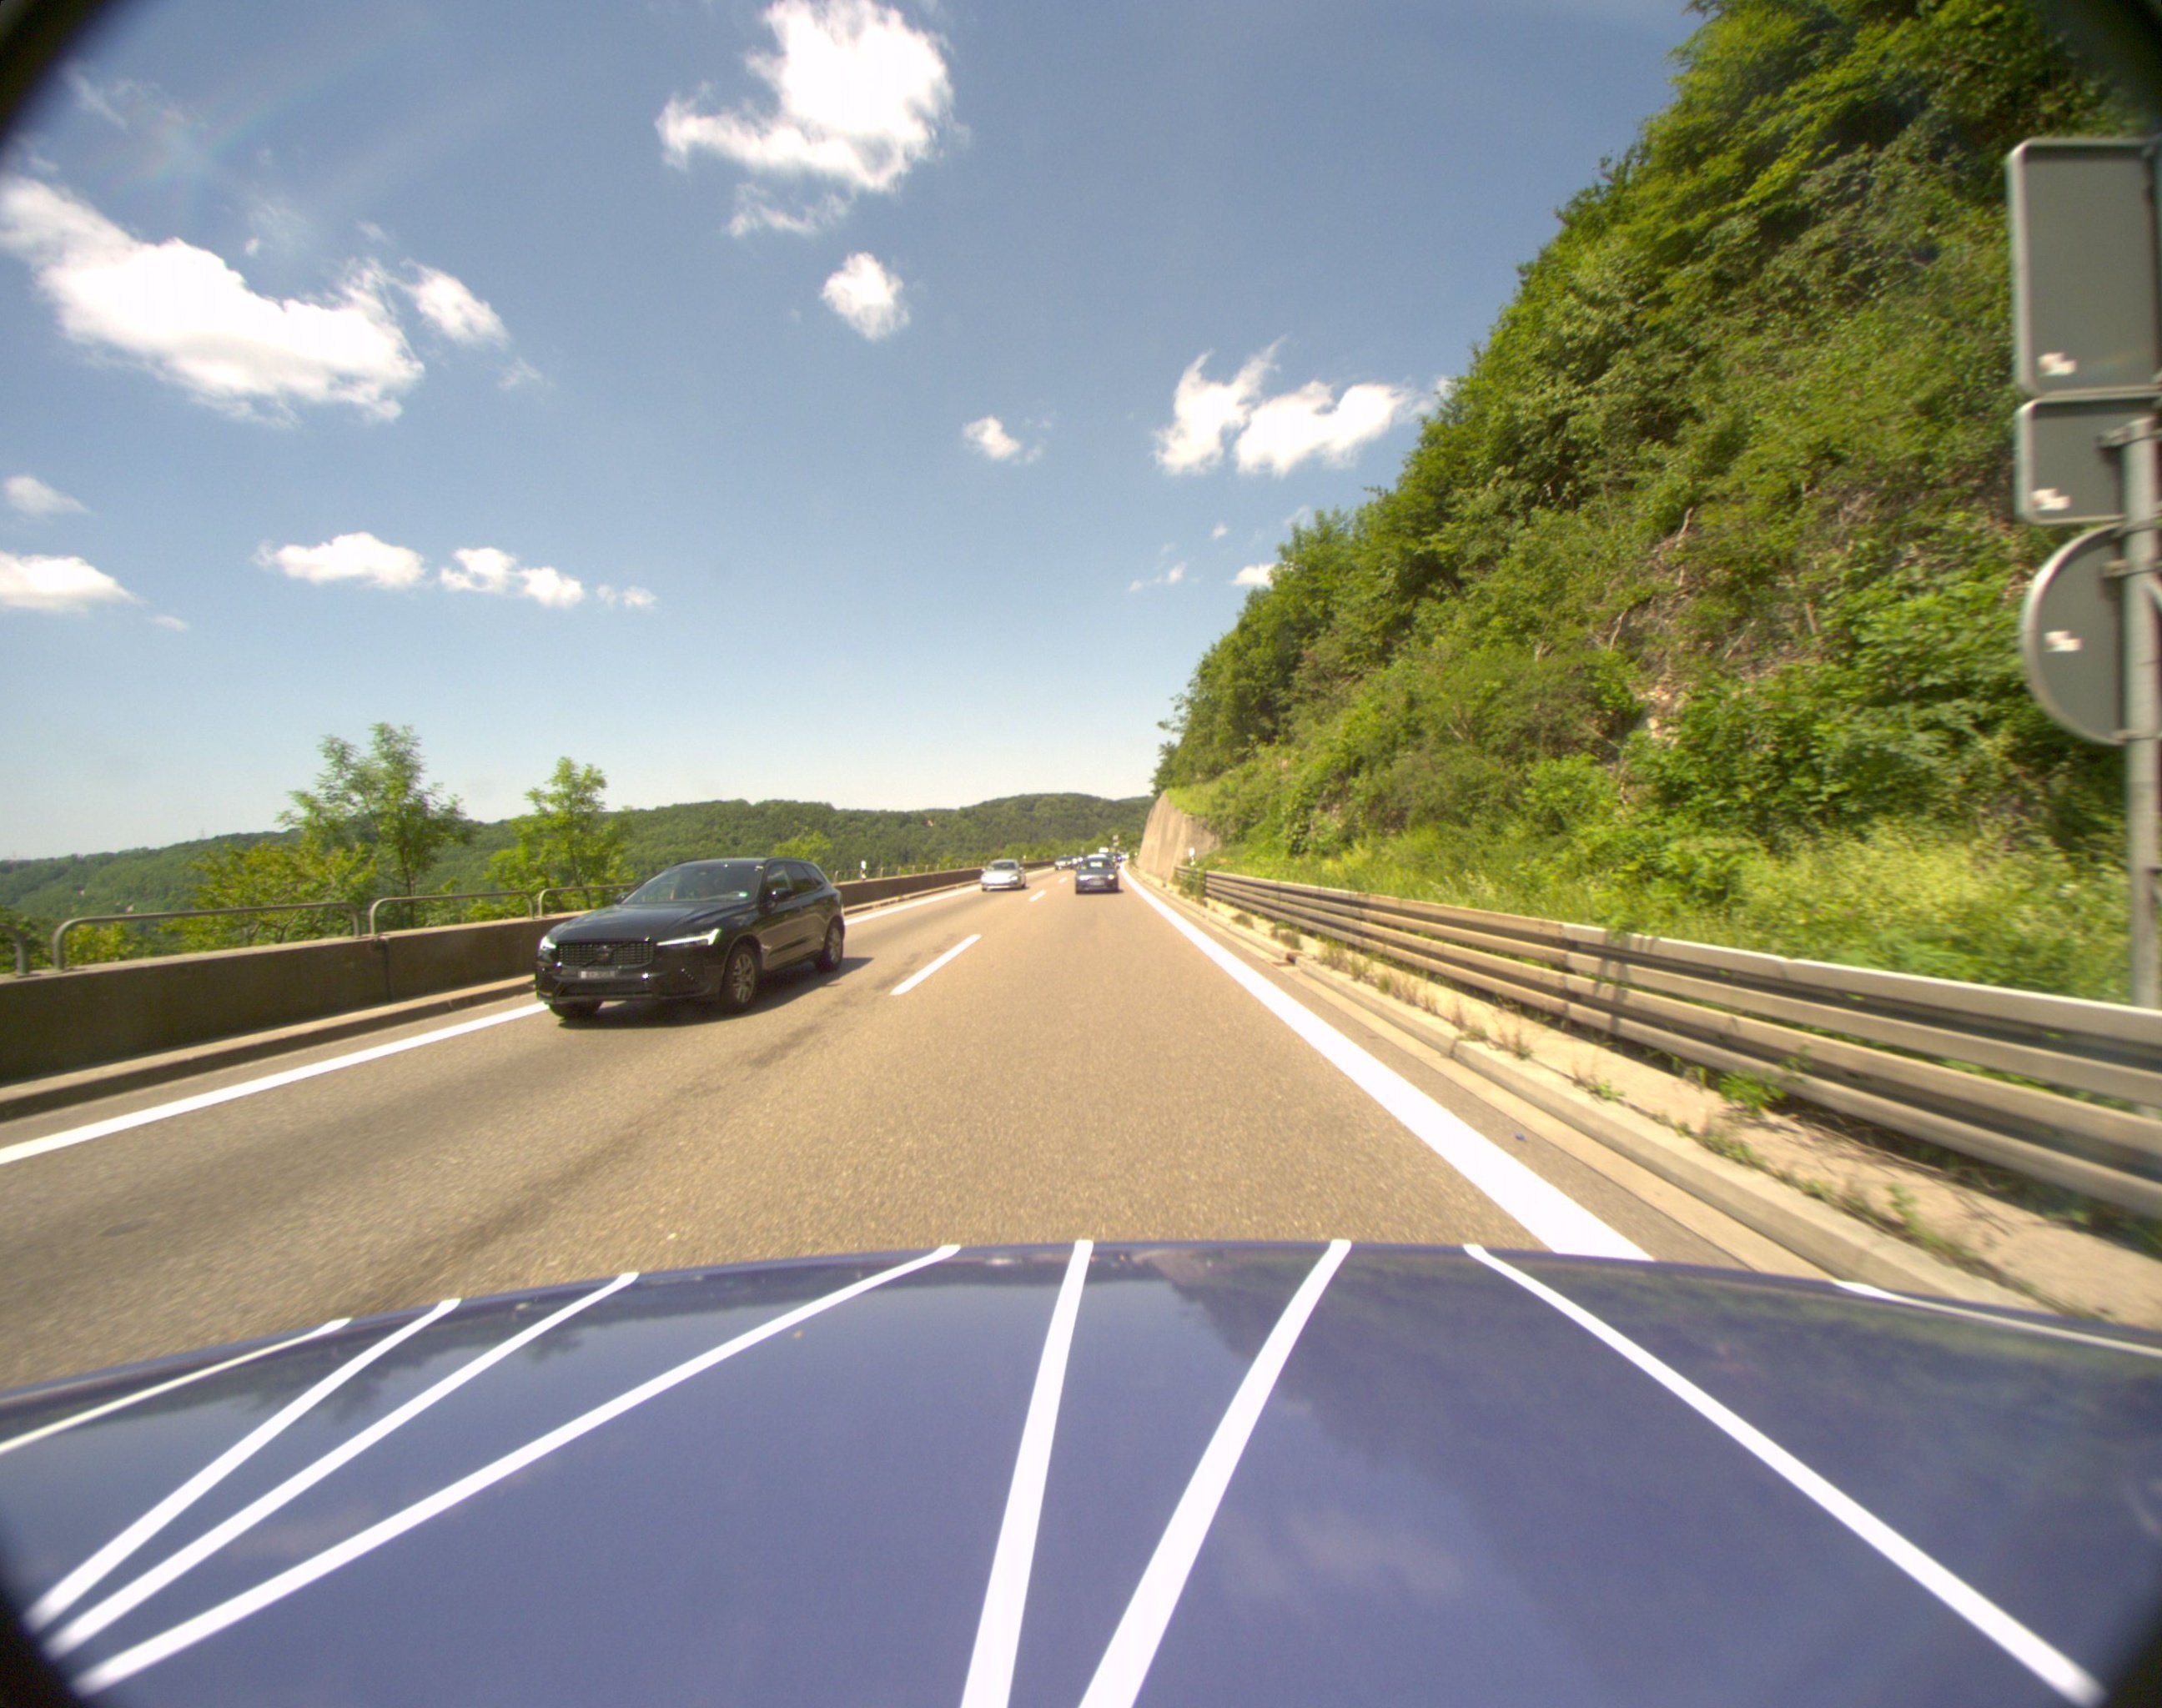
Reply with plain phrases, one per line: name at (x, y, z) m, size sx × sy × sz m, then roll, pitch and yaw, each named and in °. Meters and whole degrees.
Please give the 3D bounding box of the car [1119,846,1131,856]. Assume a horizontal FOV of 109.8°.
car at (9.238, -0.569, 158.358) m, size 1.997 × 2.002 × 4.002 m, roll -2°, pitch 0°, yaw 9°

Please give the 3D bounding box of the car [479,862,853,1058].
car at (-4.401, 0.971, 9.115) m, size 1.839 × 1.624 × 4.662 m, roll -2°, pitch 0°, yaw 0°

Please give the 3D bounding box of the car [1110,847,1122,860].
car at (5.755, -0.141, 124.423) m, size 1.998 × 2.002 × 4.000 m, roll -2°, pitch 0°, yaw 3°

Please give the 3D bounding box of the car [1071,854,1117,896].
car at (0.509, 0.783, 30.258) m, size 1.669 × 1.415 × 4.043 m, roll -2°, pitch 1°, yaw 1°

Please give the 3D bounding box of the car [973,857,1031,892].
car at (-3.656, 0.929, 36.067) m, size 1.972 × 1.370 × 4.294 m, roll -3°, pitch 1°, yaw 4°

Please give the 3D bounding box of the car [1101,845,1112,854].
car at (5.662, -0.955, 167.319) m, size 1.997 × 2.002 × 4.002 m, roll -1°, pitch 0°, yaw 7°

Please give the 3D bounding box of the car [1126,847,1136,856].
car at (11.625, -0.643, 177.300) m, size 1.997 × 2.002 × 4.002 m, roll -2°, pitch 0°, yaw 7°

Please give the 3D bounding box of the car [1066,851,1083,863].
car at (-0.824, 0.371, 100.797) m, size 1.775 × 1.565 × 4.001 m, roll -2°, pitch 0°, yaw 5°

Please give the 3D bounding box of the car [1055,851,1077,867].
car at (-1.548, 0.492, 80.658) m, size 1.875 × 1.565 × 4.001 m, roll -2°, pitch 0°, yaw 4°

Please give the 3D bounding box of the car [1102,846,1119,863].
car at (3.595, 0.061, 94.072) m, size 1.998 × 2.002 × 4.000 m, roll -2°, pitch 0°, yaw 2°

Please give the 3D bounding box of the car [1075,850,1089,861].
car at (0.198, 0.256, 118.343) m, size 1.775 × 1.565 × 4.001 m, roll -2°, pitch 0°, yaw 5°

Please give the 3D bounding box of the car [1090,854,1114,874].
car at (1.623, 0.724, 57.367) m, size 1.703 × 1.432 × 4.044 m, roll 0°, pitch 1°, yaw 3°
